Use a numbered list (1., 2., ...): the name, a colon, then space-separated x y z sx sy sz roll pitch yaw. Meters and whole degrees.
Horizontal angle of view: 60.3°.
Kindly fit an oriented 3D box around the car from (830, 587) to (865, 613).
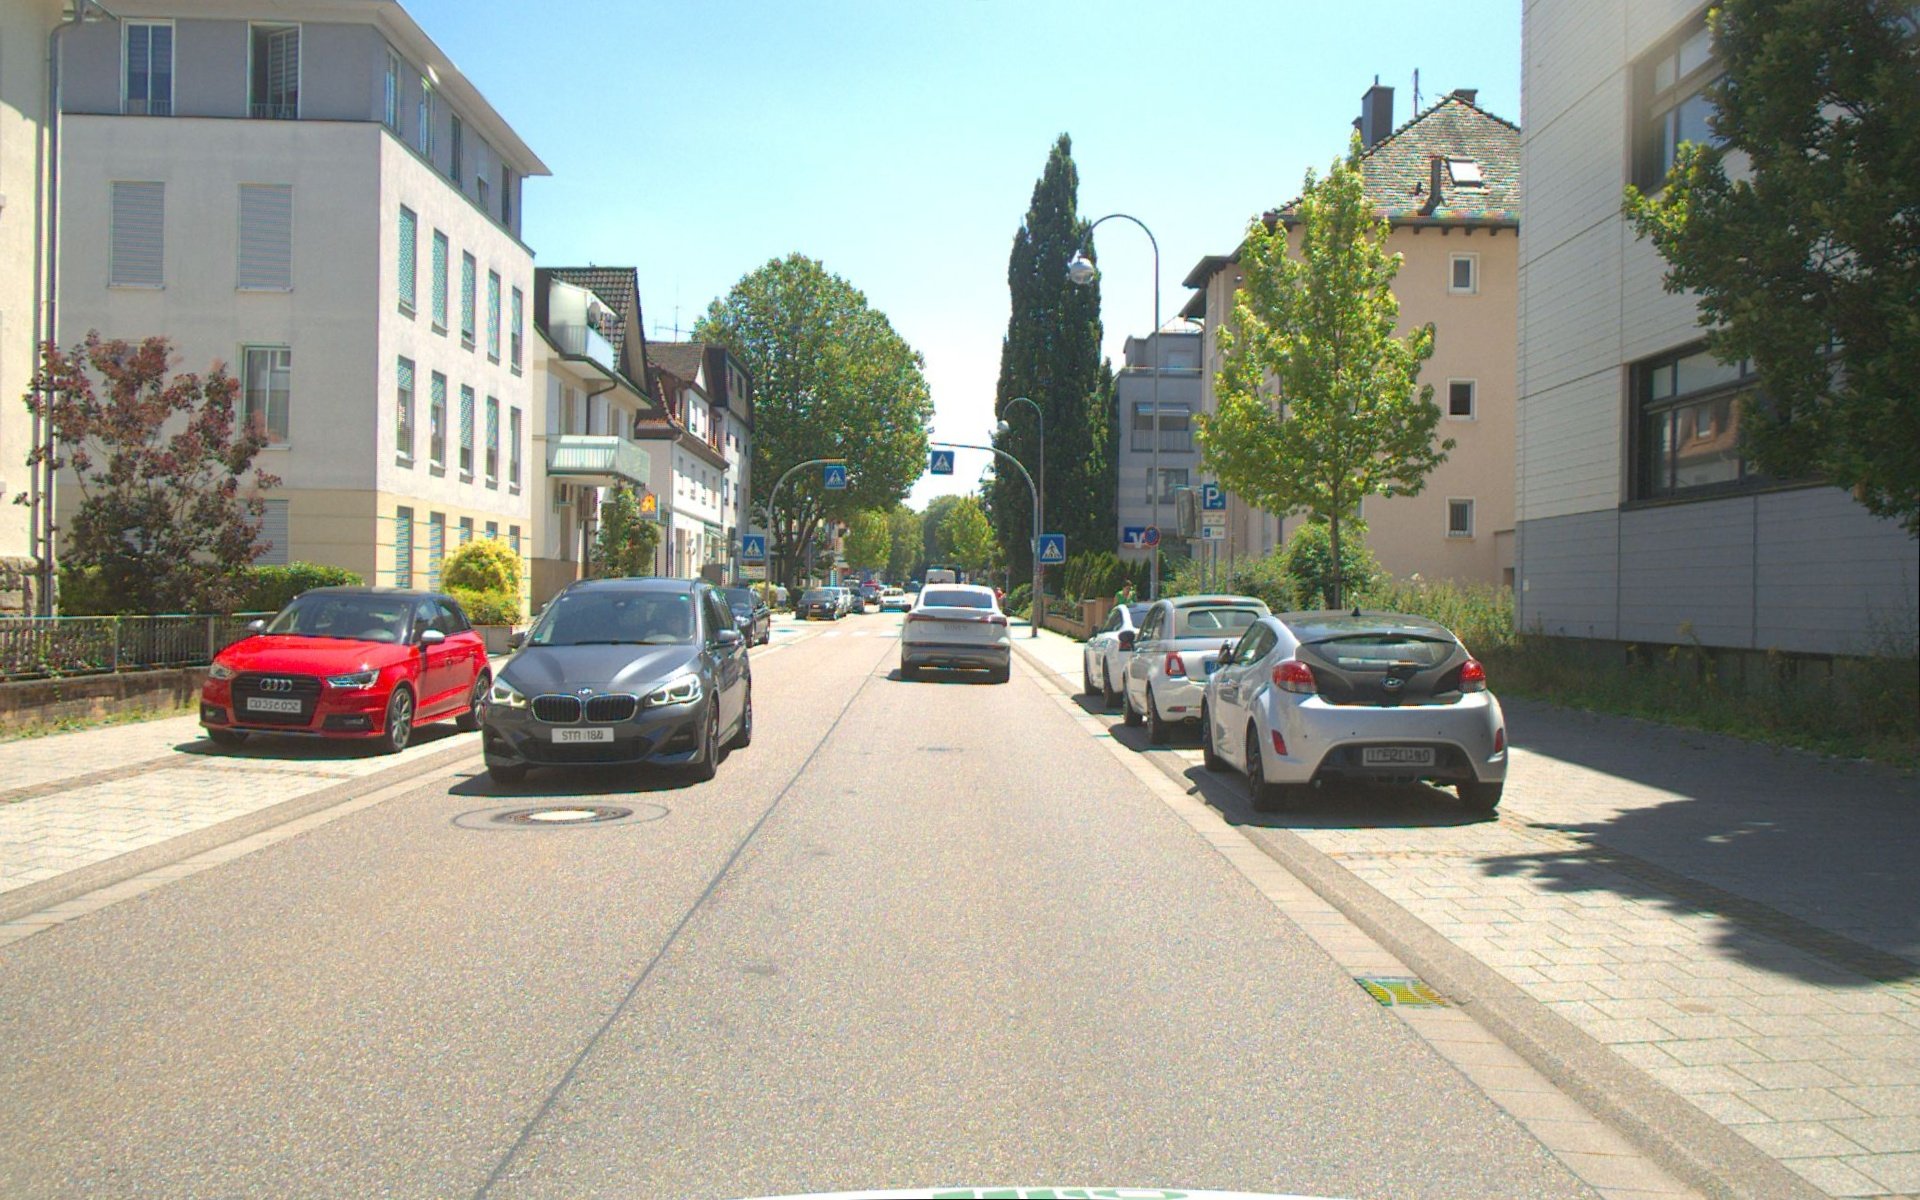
1. car: -6.828 0.003 100.461 1.953 1.546 3.999 1 0 -2

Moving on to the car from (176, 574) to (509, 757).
1. car: -5.739 0.556 15.905 1.616 1.443 3.906 3 0 1

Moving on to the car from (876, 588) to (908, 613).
1. car: -4.266 0.046 104.322 1.939 1.546 3.999 1 0 -2

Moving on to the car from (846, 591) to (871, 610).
1. car: -8.292 0.023 135.367 1.953 1.546 3.999 1 0 -2

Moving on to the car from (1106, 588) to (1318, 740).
1. car: 2.729 0.645 18.828 1.625 1.514 4.344 -1 0 -2

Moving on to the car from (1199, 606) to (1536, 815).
1. car: 3.038 0.753 13.164 1.823 1.397 4.001 0 0 2

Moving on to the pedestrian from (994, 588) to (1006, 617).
1. pedestrian: 2.423 0.153 100.532 0.680 1.767 0.667 1 0 -5

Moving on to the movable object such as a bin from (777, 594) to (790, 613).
1. movable object such as a bin: -8.977 0.160 84.069 0.575 0.969 0.566 1 0 -1

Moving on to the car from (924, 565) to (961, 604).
1. car: -1.088 -0.900 99.033 2.028 2.235 5.135 2 0 -2

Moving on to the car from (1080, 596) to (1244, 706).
1. car: 2.780 0.660 23.696 1.691 1.407 4.400 -1 0 -2

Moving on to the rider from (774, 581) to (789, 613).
1. rider: -9.001 -0.159 83.449 0.648 1.580 0.661 1 0 -1

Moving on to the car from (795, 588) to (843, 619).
1. car: -6.519 0.164 76.782 1.953 1.373 3.999 1 0 -2

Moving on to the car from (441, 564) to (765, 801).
1. car: -2.840 0.596 14.187 1.934 1.700 4.470 1 0 -2

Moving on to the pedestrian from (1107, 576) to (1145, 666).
1. pedestrian: 3.339 0.412 33.319 0.625 1.789 0.616 1 0 -5

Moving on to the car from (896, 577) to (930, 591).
1. car: -5.698 -1.981 201.417 3.902 1.680 2.001 1 0 6

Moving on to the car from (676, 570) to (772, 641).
1. car: -6.091 0.129 43.182 1.886 1.750 4.471 0 0 0

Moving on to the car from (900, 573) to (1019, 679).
1. car: -0.023 0.434 29.852 1.897 1.642 4.471 3 0 0
